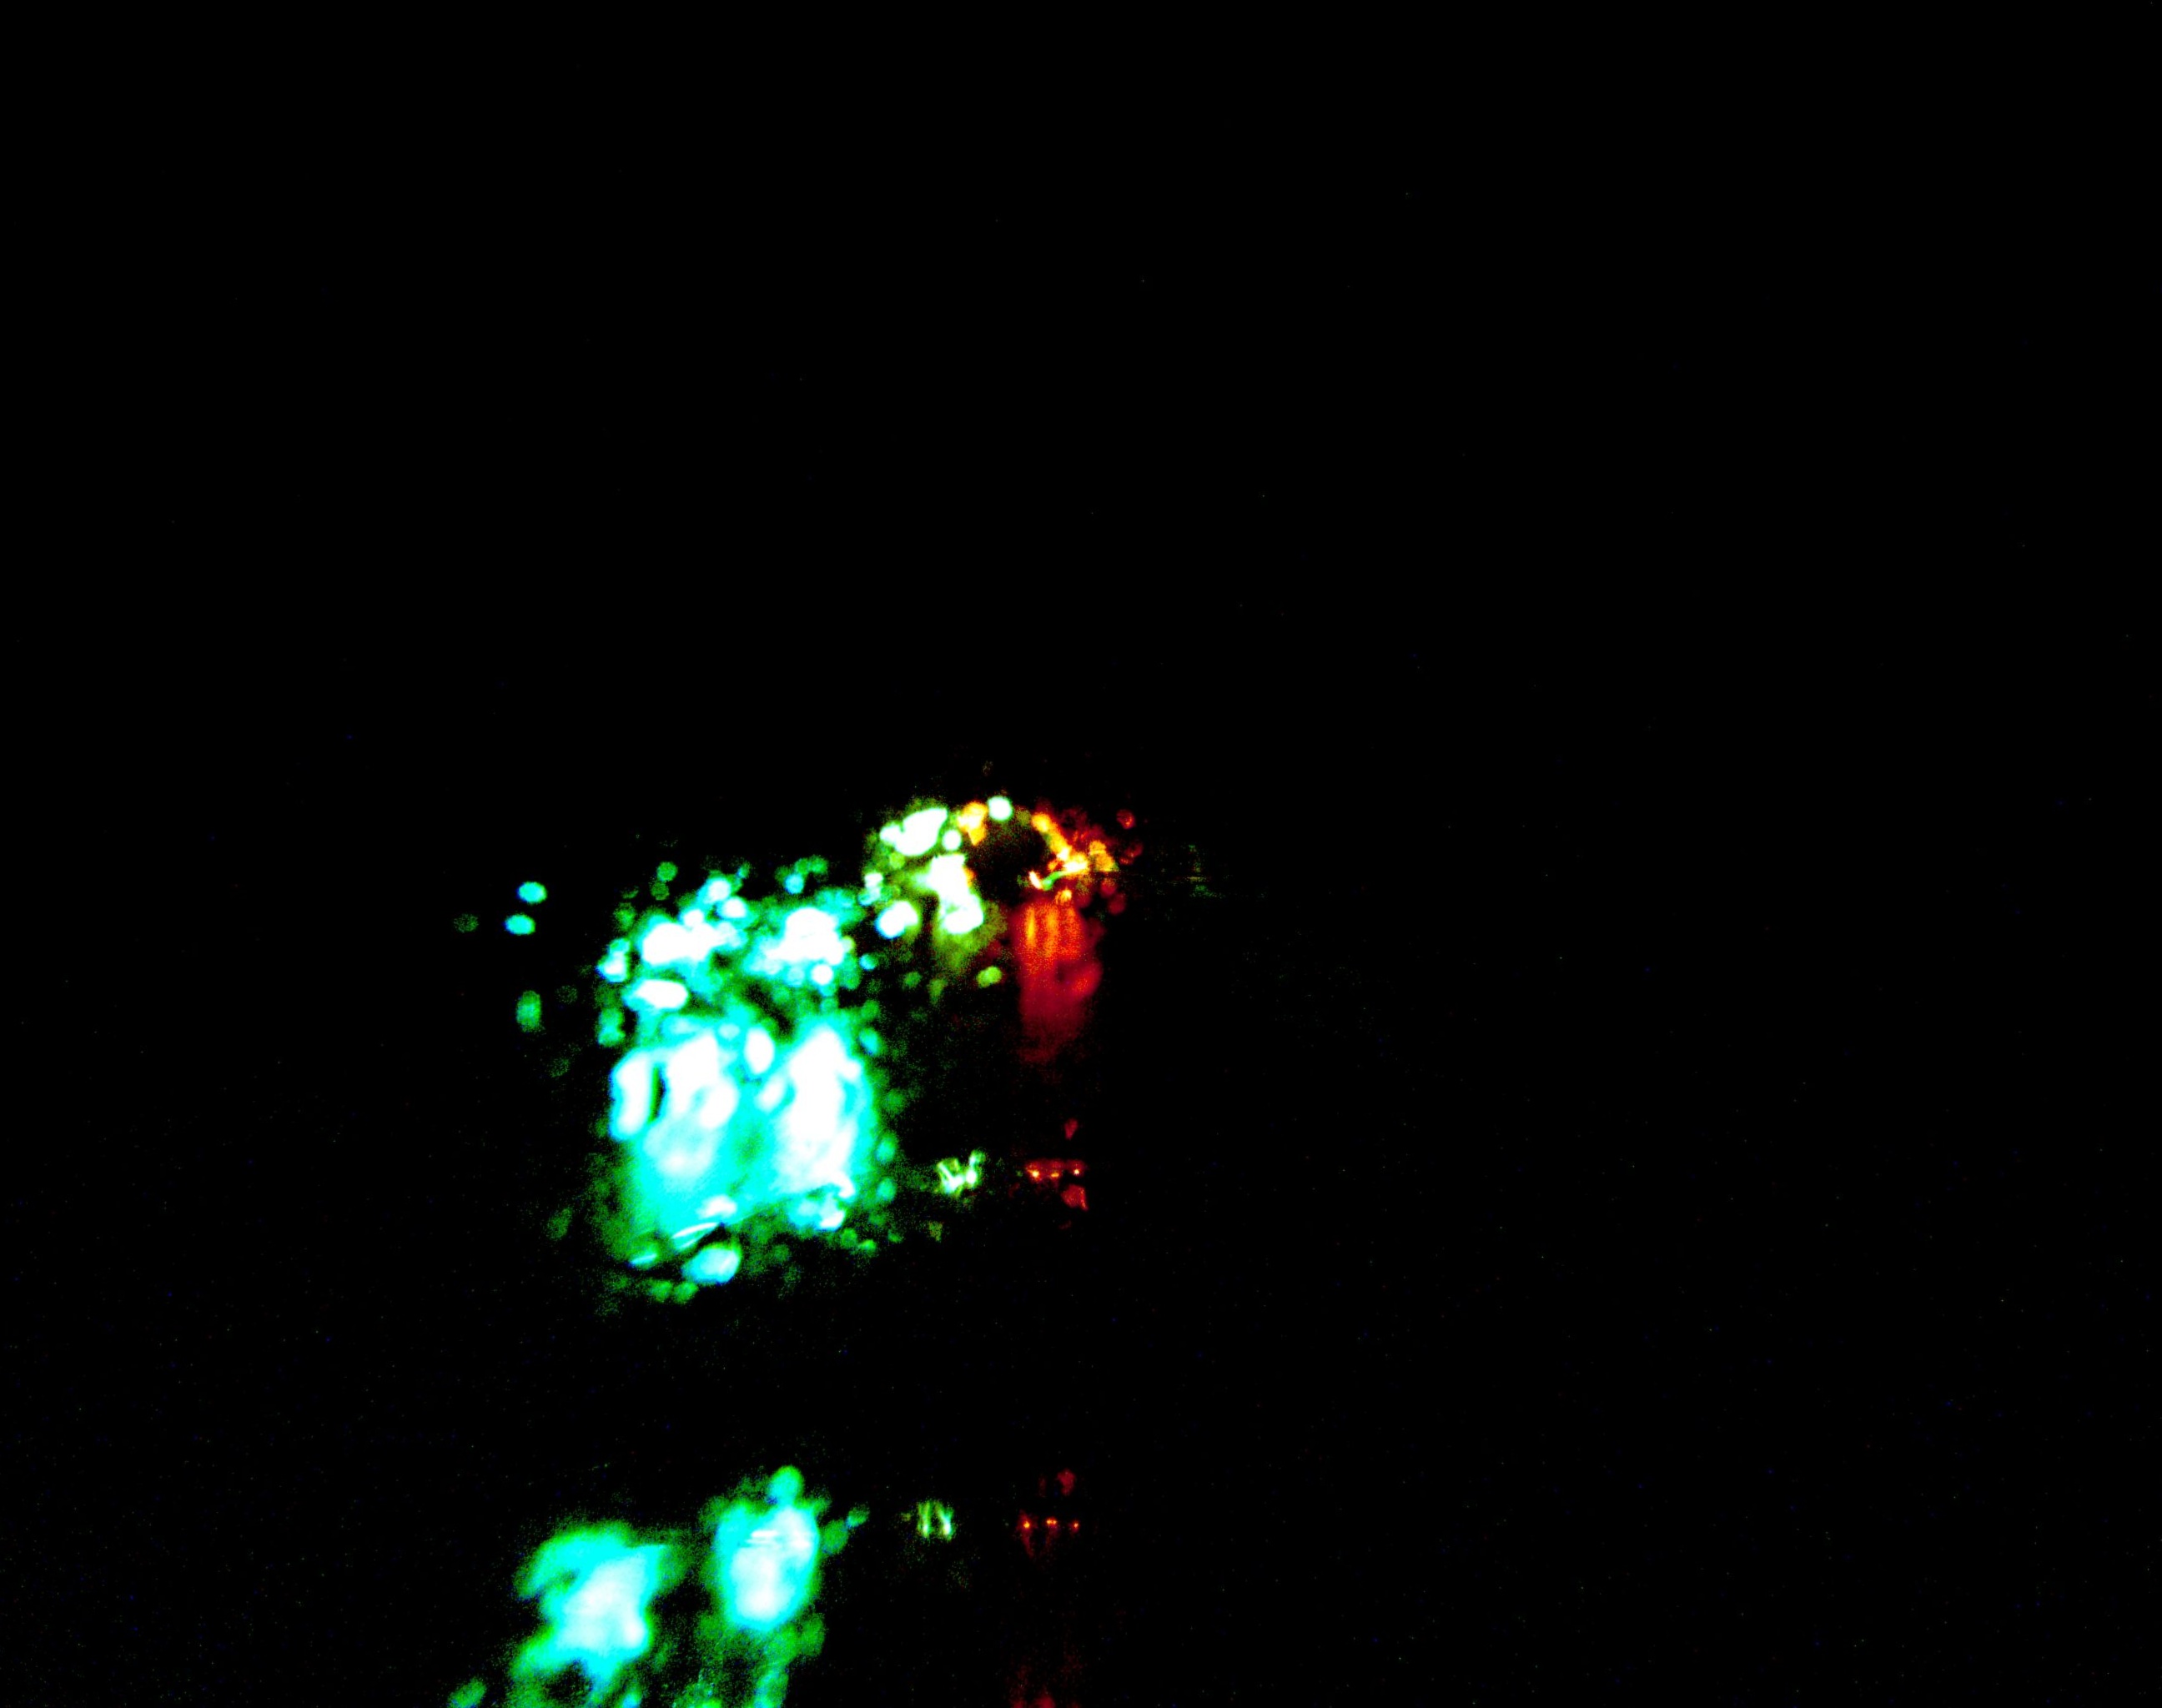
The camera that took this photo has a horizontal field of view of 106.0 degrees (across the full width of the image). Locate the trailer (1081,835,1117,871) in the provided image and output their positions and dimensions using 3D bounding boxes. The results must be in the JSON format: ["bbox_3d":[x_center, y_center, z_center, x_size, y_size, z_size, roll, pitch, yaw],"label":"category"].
[{"bbox_3d":[1.217,-0.073,57.631,1.605,2.352,4.416,3,0,-10],"label":"trailer"}]

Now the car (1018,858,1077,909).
[{"bbox_3d":[-1.223,0.970,28.166,1.799,1.628,3.608,1,0,-6],"label":"car"}]

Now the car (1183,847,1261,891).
[{"bbox_3d":[6.150,0.634,36.094,1.881,1.809,4.135,1,0,-14],"label":"car"}]

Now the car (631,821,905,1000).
[{"bbox_3d":[-3.577,0.585,10.202,1.972,1.778,3.996,1,0,-2],"label":"car"}]

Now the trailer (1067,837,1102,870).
[{"bbox_3d":[0.245,-0.034,62.387,1.631,2.364,4.633,3,0,-12],"label":"trailer"}]

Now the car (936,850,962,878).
[{"bbox_3d":[-10.392,0.764,63.807,1.919,2.057,4.870,1,0,-10],"label":"car"}]

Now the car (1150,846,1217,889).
[{"bbox_3d":[5.091,0.639,41.060,1.881,2.040,4.369,1,0,-15],"label":"car"}]
